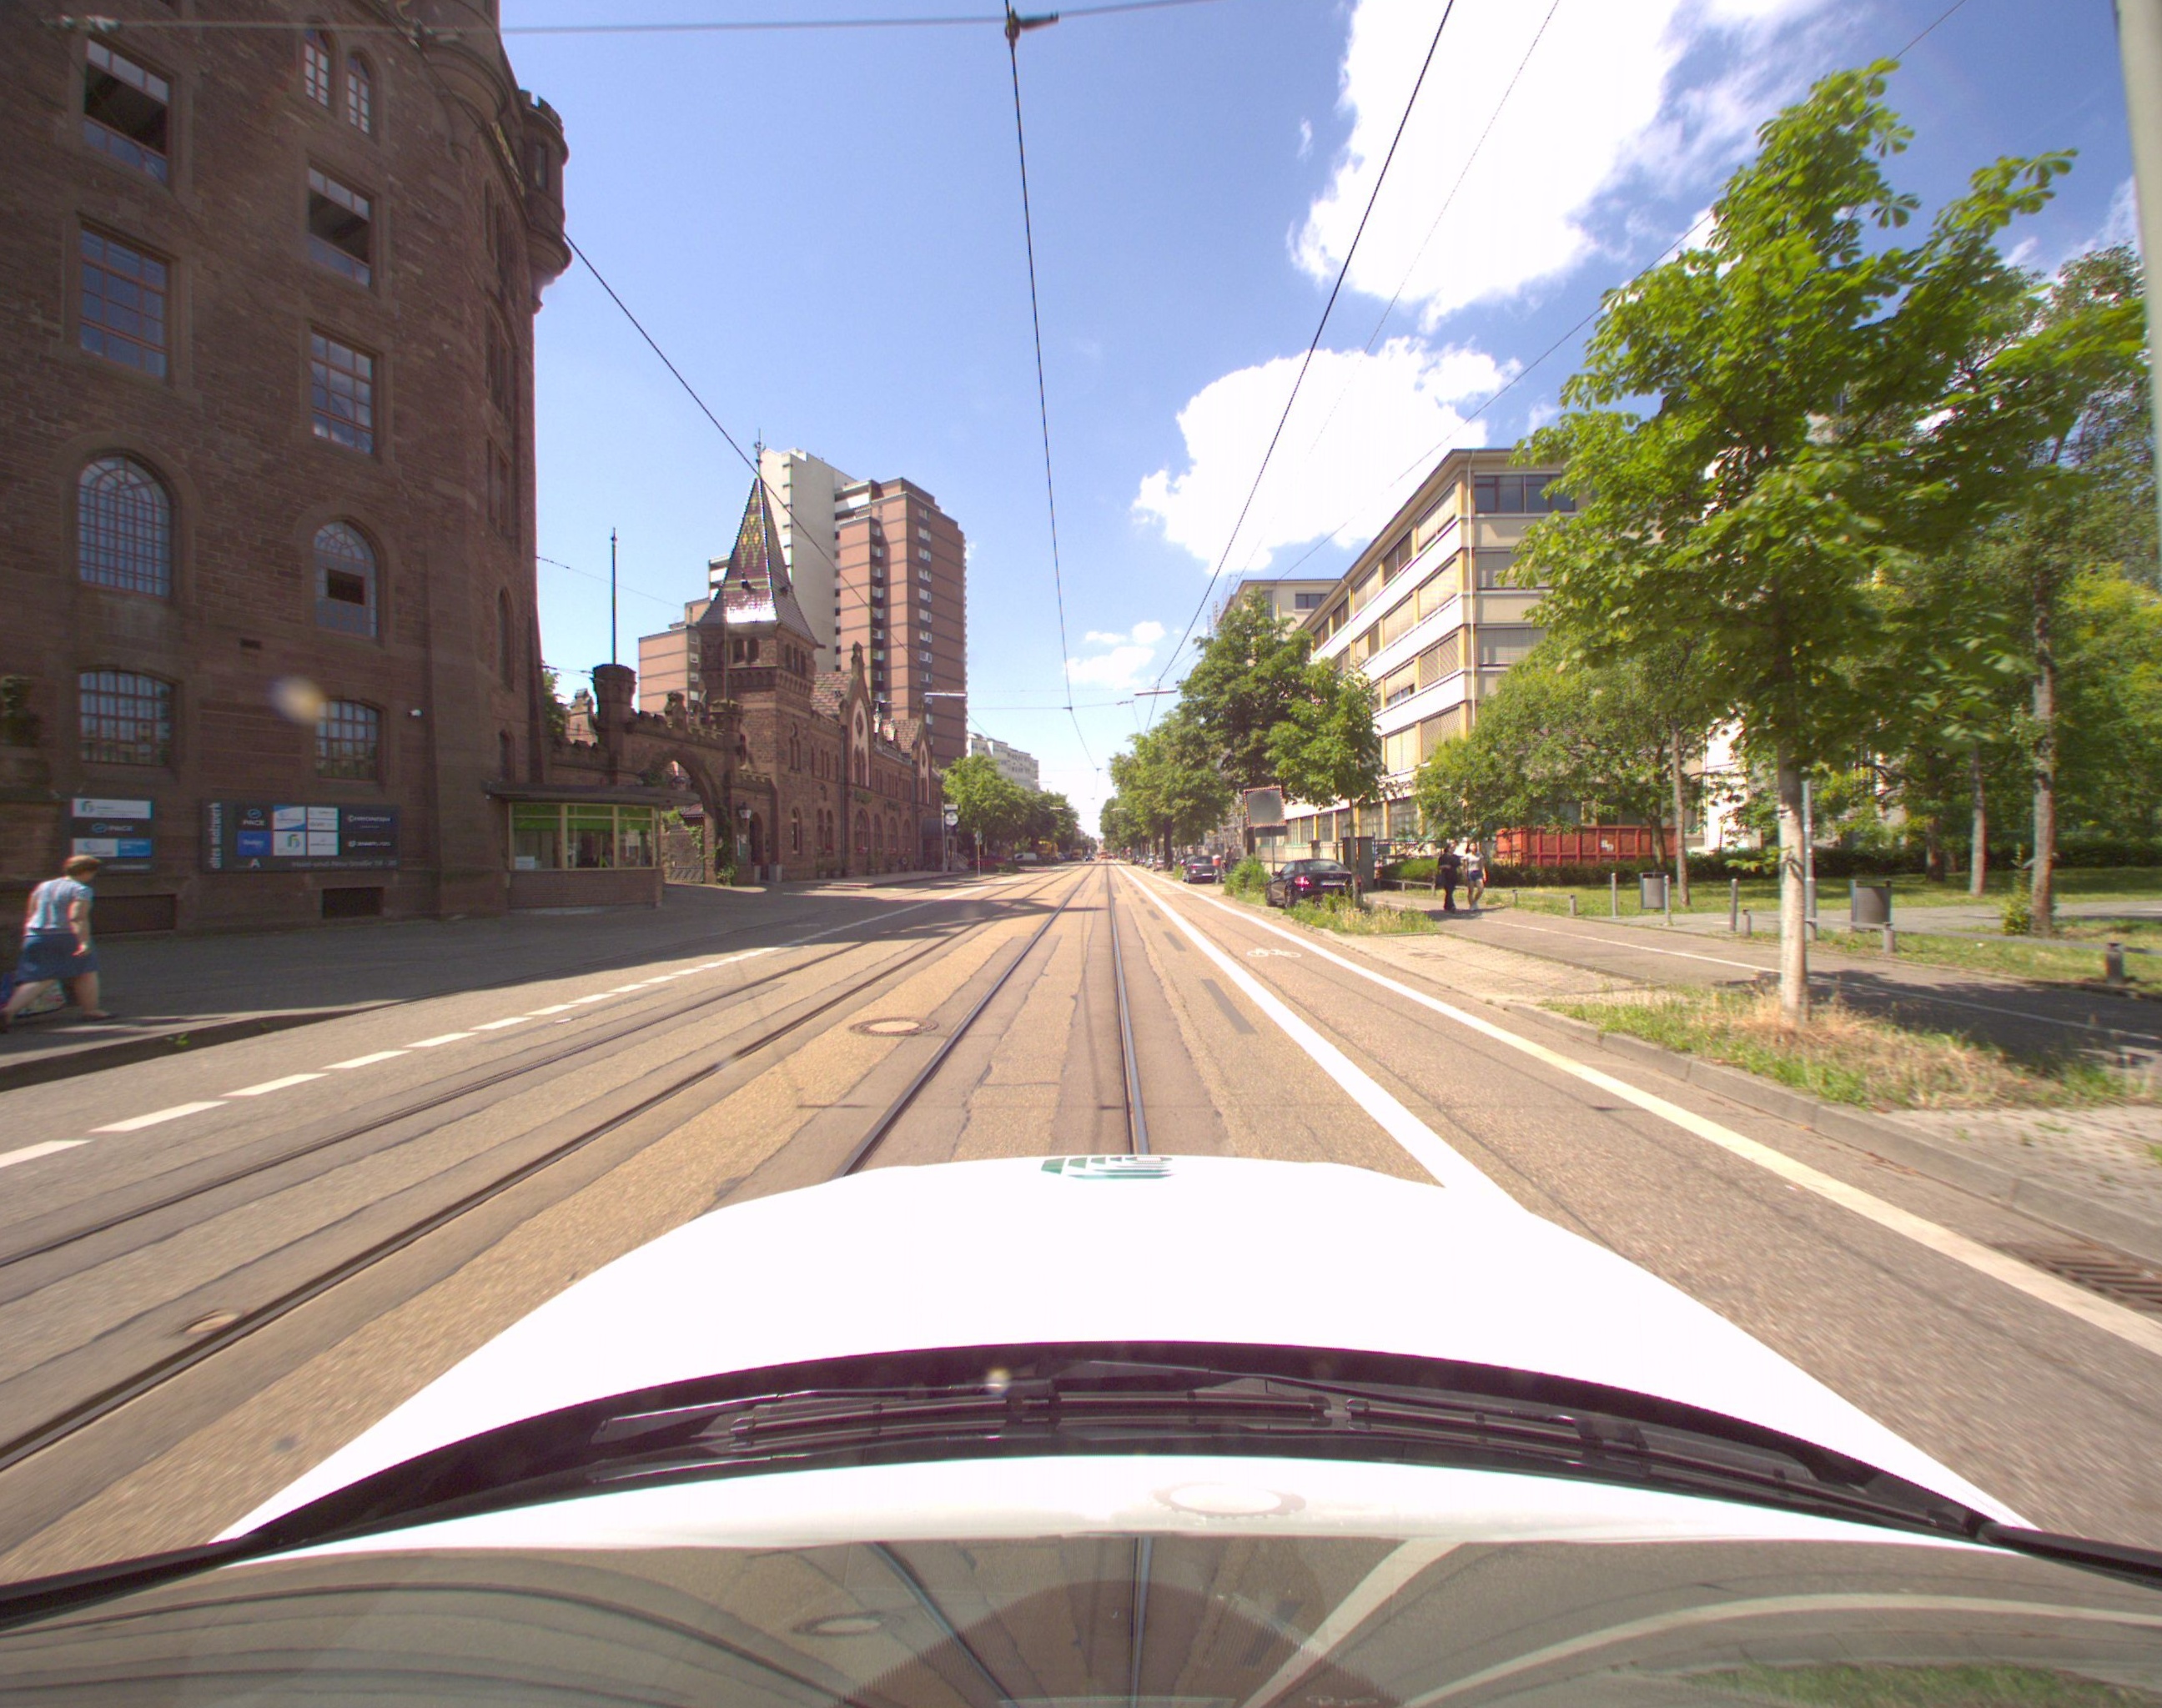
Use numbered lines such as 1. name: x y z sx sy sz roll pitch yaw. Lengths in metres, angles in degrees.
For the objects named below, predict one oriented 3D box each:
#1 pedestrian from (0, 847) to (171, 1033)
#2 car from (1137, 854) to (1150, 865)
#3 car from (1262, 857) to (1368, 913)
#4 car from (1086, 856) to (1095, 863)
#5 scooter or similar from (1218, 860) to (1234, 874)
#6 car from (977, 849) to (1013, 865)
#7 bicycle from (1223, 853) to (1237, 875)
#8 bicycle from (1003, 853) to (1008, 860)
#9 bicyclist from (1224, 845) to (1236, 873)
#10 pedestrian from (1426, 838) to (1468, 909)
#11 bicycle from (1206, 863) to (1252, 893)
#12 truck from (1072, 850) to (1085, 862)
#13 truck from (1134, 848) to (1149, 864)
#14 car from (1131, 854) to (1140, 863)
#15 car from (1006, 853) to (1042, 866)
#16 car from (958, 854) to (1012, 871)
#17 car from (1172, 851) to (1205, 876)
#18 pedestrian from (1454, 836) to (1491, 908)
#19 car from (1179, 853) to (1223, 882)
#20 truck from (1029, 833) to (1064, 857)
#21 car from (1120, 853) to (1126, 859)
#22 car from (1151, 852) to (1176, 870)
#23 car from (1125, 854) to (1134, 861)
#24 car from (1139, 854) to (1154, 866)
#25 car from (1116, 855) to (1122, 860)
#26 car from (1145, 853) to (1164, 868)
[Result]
1. pedestrian: -9.315 0.740 7.487 0.796 1.589 0.920 2 0 1
2. car: 8.938 0.738 116.622 1.816 1.471 4.405 -1 0 4
3. car: 5.851 0.729 20.827 1.744 1.270 3.835 0 0 2
4. car: 2.185 1.209 181.352 1.824 1.681 4.186 -1 0 2
5. scooter or similar: 9.028 0.812 50.689 0.759 0.807 1.556 -3 0 2
6. car: -14.014 0.499 132.863 2.157 2.566 6.766 -1 -2 32
7. bicycle: 8.961 0.593 49.033 0.552 1.265 1.774 -4 0 2
8. bicycle: -10.755 0.394 116.140 0.516 1.047 1.876 0 0 0
9. bicyclist: 8.957 0.315 48.970 0.578 1.648 0.599 -3 0 1
10. pedestrian: 8.313 0.433 18.518 0.616 1.573 0.611 -2 0 2
11. bicycle: 5.405 0.867 29.738 1.580 1.060 0.562 -1 0 0
12. truck: -0.570 0.527 196.956 2.350 2.852 7.385 -2 0 3
13. truck: 9.367 0.307 127.368 2.007 2.488 5.957 -1 0 1
14. car: 9.872 0.783 147.112 1.637 1.534 3.788 -1 0 3
15. car: -7.762 0.748 111.331 4.563 1.791 1.882 0 0 -31
16. car: -9.259 0.803 78.670 4.790 1.566 1.984 -1 0 -27
17. car: 6.908 0.599 52.737 1.665 1.489 3.981 -1 0 1
18. pedestrian: 8.896 0.404 18.510 0.511 1.573 0.545 -2 0 2
19. car: 6.268 0.651 42.879 1.665 1.408 4.749 -1 0 1
20. truck: -5.796 -1.516 140.591 2.695 3.842 11.009 0 -1 16
21. car: 11.448 0.542 221.832 1.586 1.617 3.908 -2 -1 1
22. car: 7.383 0.635 73.177 1.666 1.499 4.363 -1 0 -1
23. car: 10.787 0.736 180.842 1.634 1.485 3.870 -2 -1 -1
24. car: 8.513 0.719 105.816 1.817 1.471 4.490 -1 0 3
25. car: 12.033 1.228 259.394 1.704 1.423 4.311 -2 -1 1
26. car: 7.718 0.656 86.163 1.665 1.517 4.202 -1 0 1
